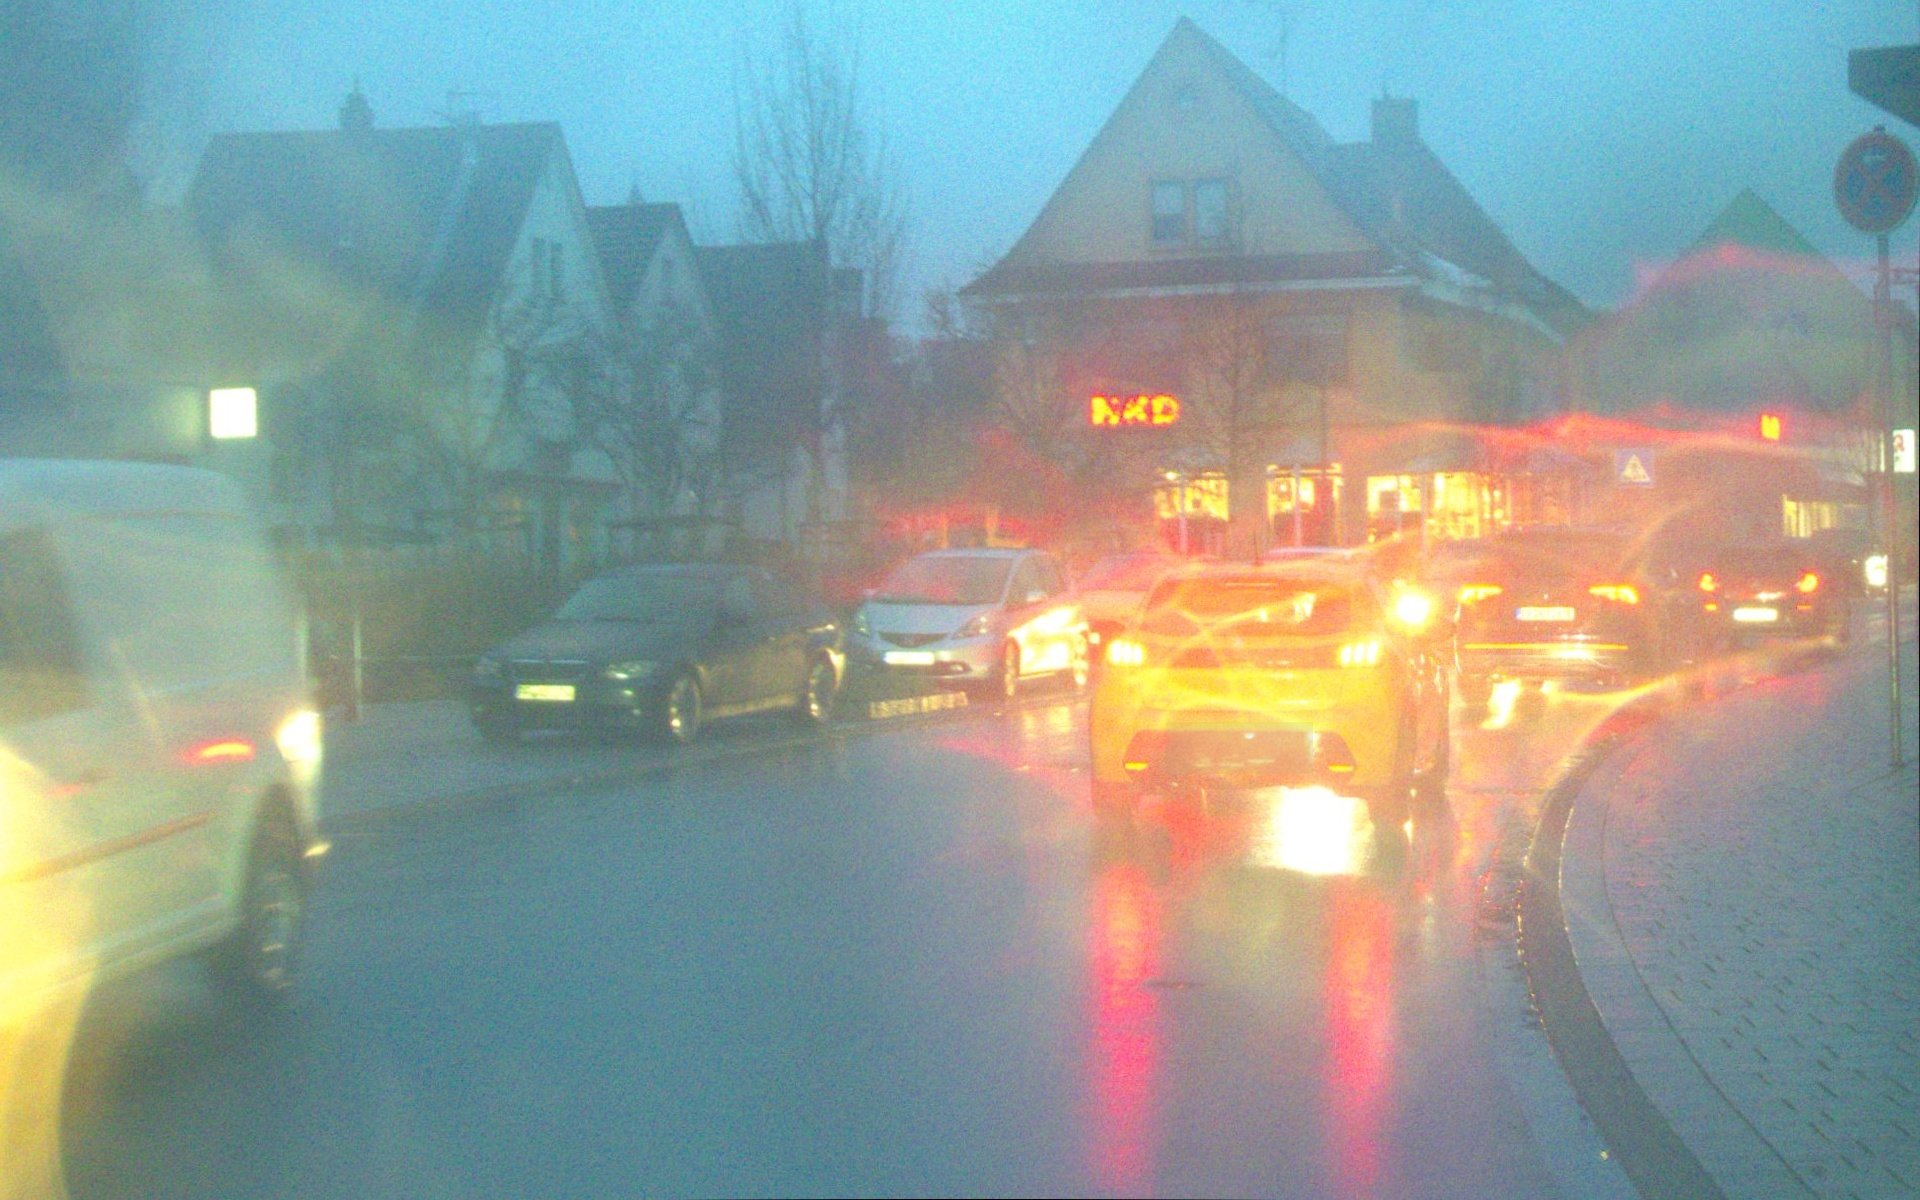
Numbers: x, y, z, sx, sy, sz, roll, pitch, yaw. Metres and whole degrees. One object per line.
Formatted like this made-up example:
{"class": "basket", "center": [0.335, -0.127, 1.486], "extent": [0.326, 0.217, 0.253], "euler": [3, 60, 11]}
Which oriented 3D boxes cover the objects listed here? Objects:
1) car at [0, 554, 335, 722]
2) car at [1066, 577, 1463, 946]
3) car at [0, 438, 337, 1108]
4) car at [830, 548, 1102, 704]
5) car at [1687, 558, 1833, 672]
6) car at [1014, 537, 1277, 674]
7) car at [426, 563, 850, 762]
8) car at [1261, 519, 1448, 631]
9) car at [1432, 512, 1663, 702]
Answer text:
{"class": "car", "center": [-7.920, 0.375, 32.910], "extent": [4.086, 1.472, 1.735], "euler": [-2, 1, 45]}
{"class": "car", "center": [1.848, 0.817, 19.870], "extent": [1.994, 1.789, 4.647], "euler": [-1, 1, 7]}
{"class": "car", "center": [-3.428, 0.480, 9.734], "extent": [1.946, 1.744, 4.850], "euler": [-3, 1, 6]}
{"class": "car", "center": [0.123, 0.222, 35.757], "extent": [1.694, 1.511, 3.769], "euler": [1, 1, 19]}
{"class": "car", "center": [10.697, 0.175, 45.836], "extent": [1.651, 1.437, 3.863], "euler": [-1, 0, 16]}
{"class": "car", "center": [2.276, 0.027, 40.956], "extent": [1.751, 1.511, 4.337], "euler": [1, 1, 23]}
{"class": "car", "center": [-2.547, 0.444, 28.355], "extent": [1.748, 1.467, 4.454], "euler": [1, 1, 20]}
{"class": "car", "center": [5.721, -0.378, 49.503], "extent": [1.672, 1.511, 3.996], "euler": [1, 1, 22]}
{"class": "car", "center": [5.549, 0.035, 32.153], "extent": [1.799, 1.656, 3.997], "euler": [0, 1, 14]}
